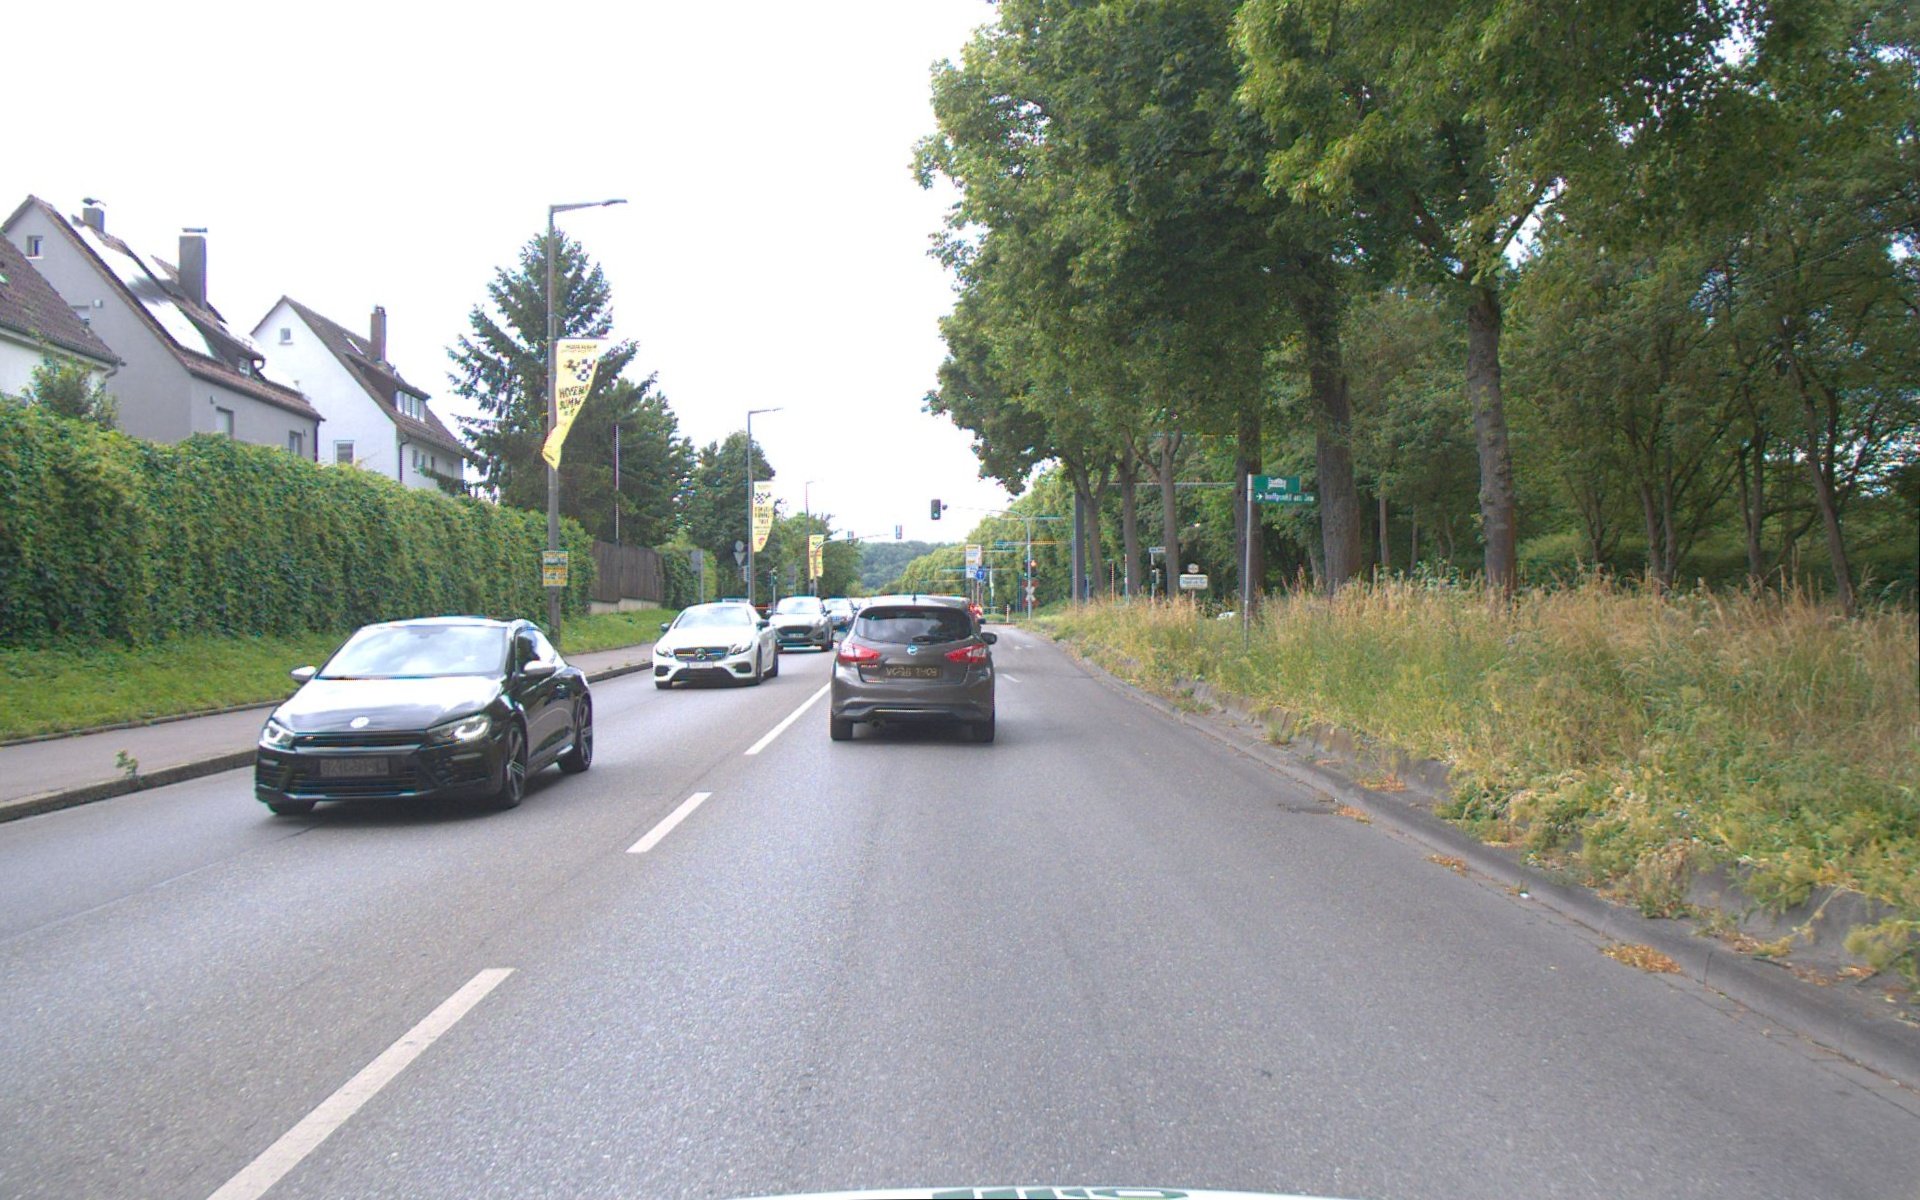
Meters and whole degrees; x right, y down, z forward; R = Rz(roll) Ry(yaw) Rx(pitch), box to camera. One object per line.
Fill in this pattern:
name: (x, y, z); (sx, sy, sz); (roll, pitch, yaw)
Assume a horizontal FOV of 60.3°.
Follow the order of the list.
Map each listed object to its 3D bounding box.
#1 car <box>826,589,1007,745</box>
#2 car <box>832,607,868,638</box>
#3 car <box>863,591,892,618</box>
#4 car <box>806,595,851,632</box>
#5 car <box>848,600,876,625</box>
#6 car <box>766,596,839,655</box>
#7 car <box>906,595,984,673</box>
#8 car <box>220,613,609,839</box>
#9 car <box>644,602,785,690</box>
car: (-0.460, 0.672, 18.915); (1.798, 1.545, 4.482); (1, 0, -1)
car: (-5.847, 1.184, 88.076); (1.585, 1.487, 4.071); (-4, 0, 0)
car: (-4.898, 0.255, 98.100); (1.610, 1.507, 4.105); (-2, 0, -2)
car: (-5.689, 0.579, 71.905); (1.693, 1.490, 4.152); (-2, 0, -1)
car: (-6.624, 0.818, 111.706); (1.776, 1.550, 4.175); (-2, 0, -3)
car: (-4.496, 0.700, 47.692); (1.716, 1.545, 3.999); (-2, 0, -1)
car: (-0.316, 0.660, 34.257); (1.507, 1.504, 3.763); (-1, 0, -1)
car: (-4.032, 0.839, 13.036); (1.617, 1.371, 4.477); (-2, 0, -1)
car: (-4.390, 0.782, 30.257); (1.847, 1.407, 4.491); (-2, 0, 0)
